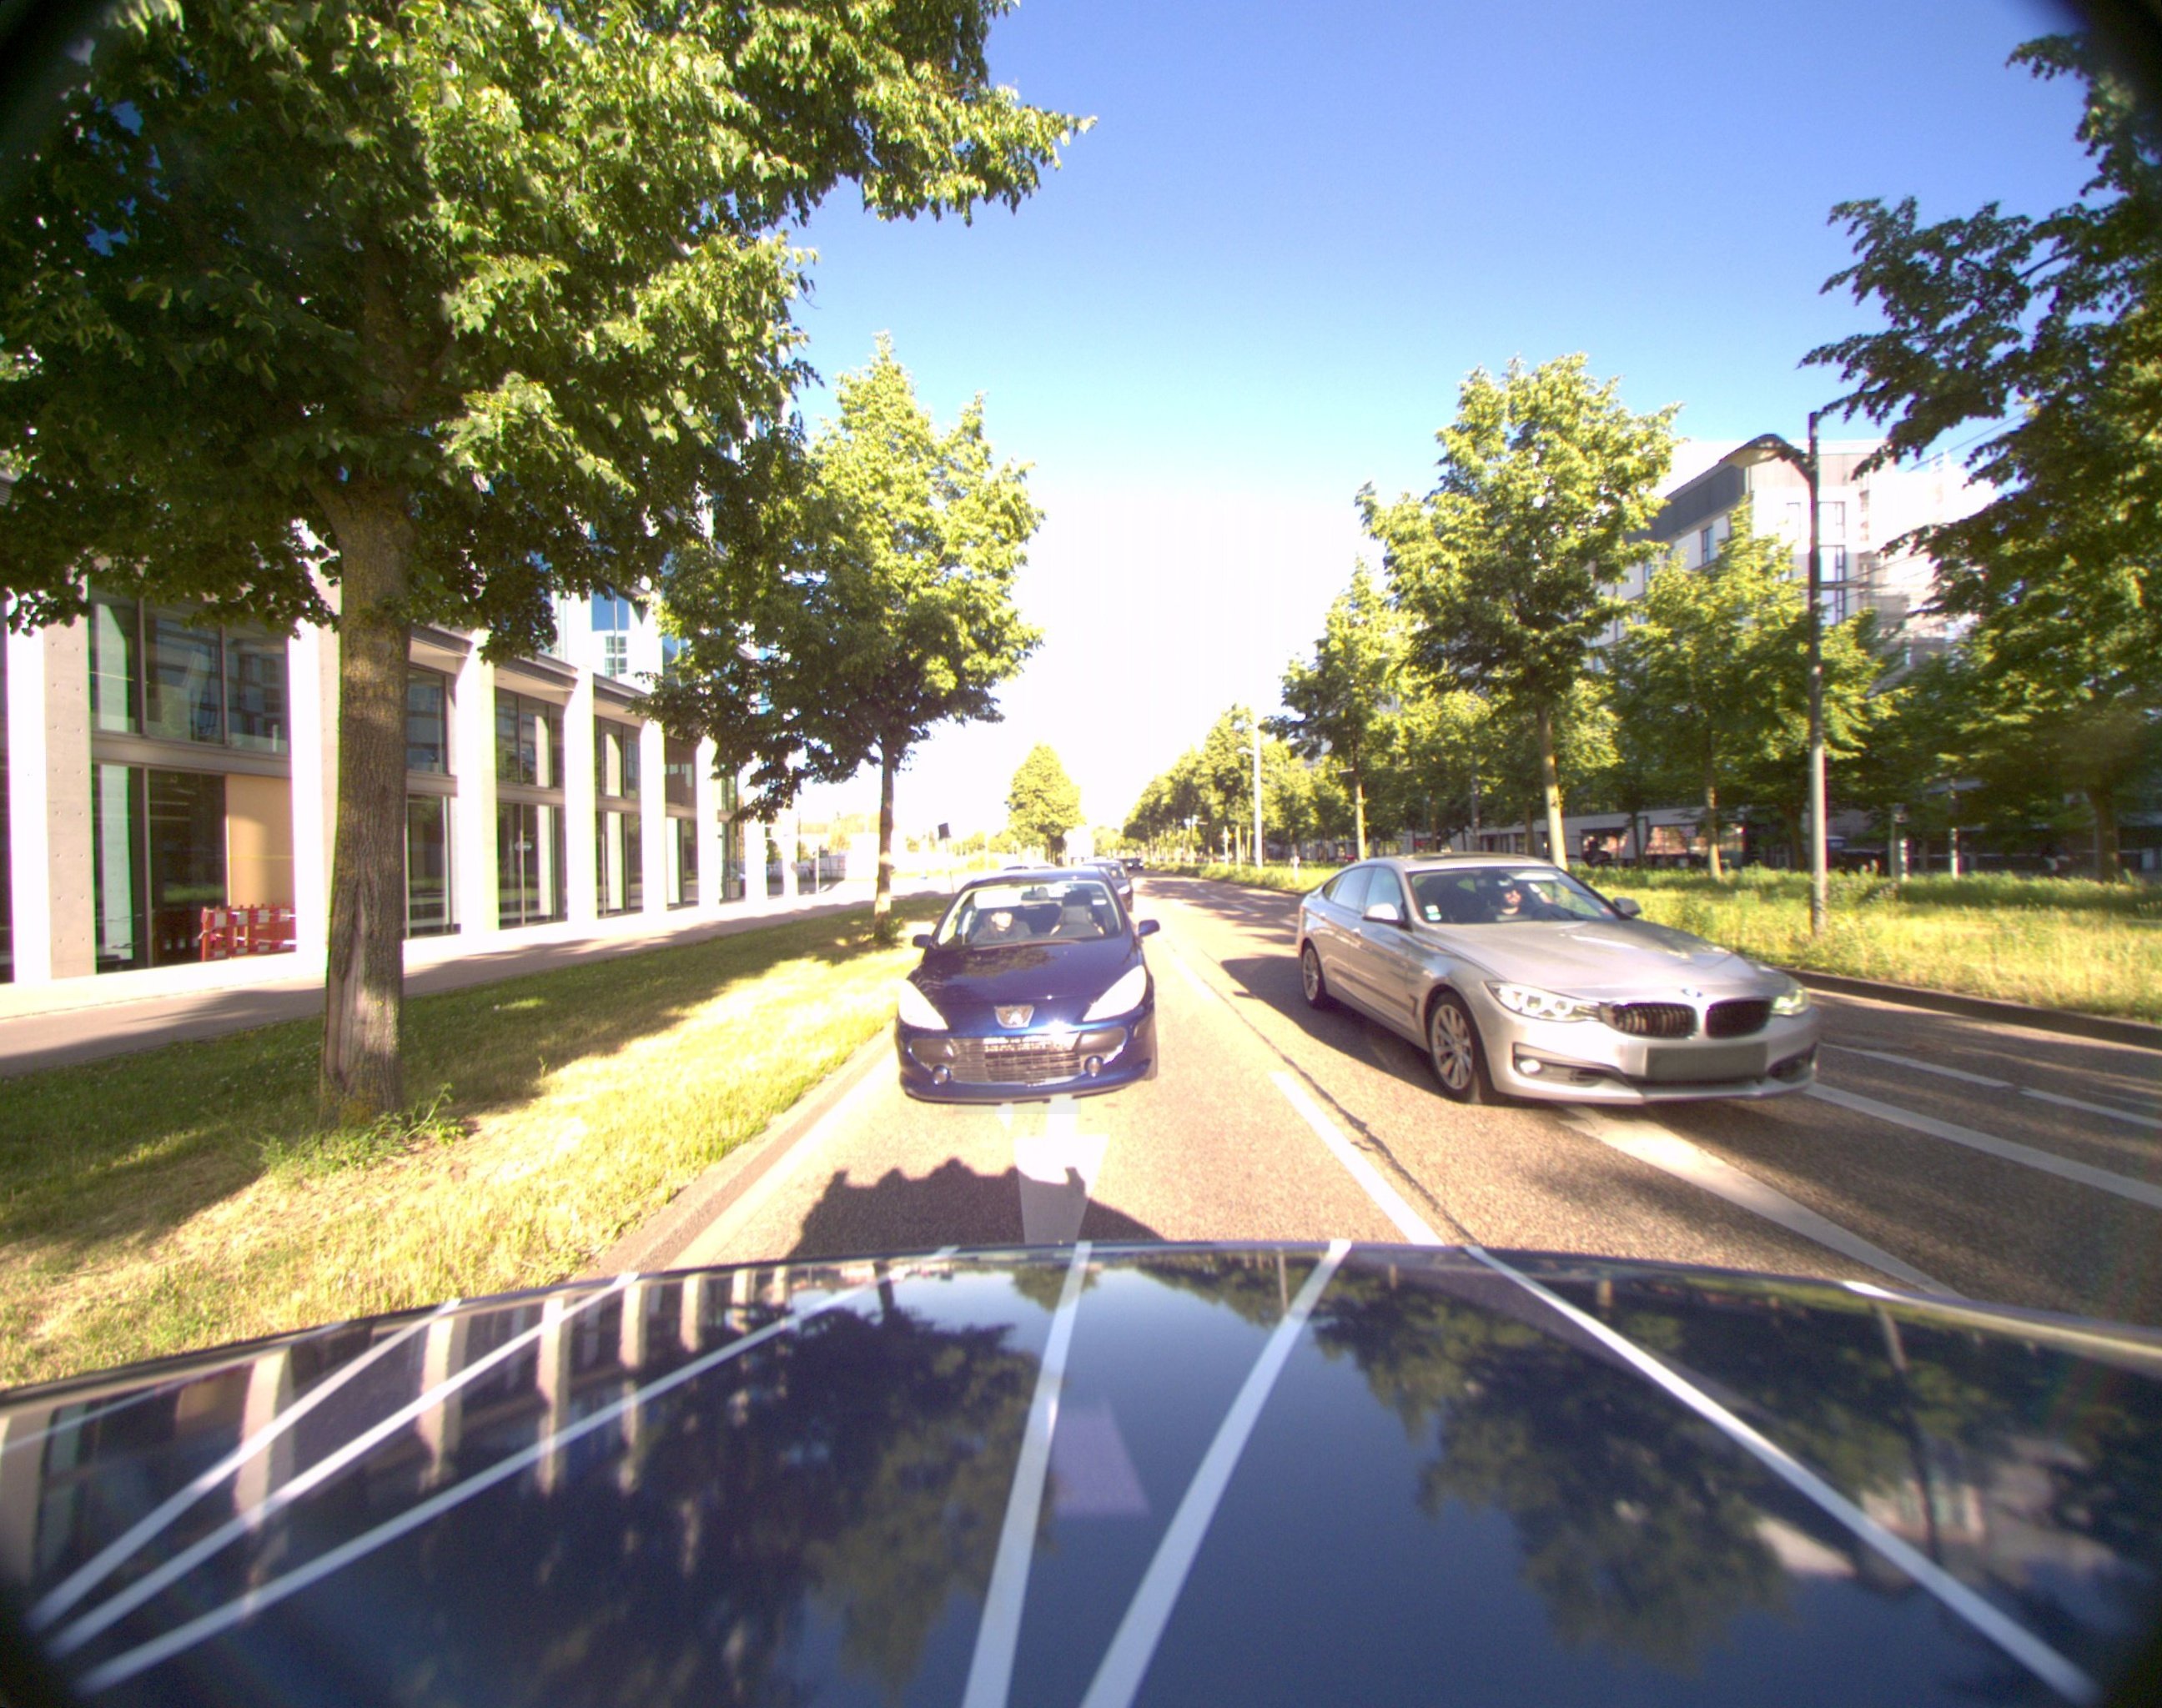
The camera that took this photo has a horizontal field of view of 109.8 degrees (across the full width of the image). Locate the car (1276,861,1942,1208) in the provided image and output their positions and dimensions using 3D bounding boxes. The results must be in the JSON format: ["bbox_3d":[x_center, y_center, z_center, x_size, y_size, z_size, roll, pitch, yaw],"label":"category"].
[{"bbox_3d":[2.981,0.838,5.714,1.824,1.476,4.561,-1,0,0],"label":"car"}]

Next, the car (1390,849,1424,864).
[{"bbox_3d":[35.422,0.284,82.713,1.884,1.588,4.184,-1,0,1],"label":"car"}]

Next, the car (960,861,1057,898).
[{"bbox_3d":[-3.170,1.047,32.323,1.808,1.439,4.556,-2,0,-40],"label":"car"}]

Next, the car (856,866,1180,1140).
[{"bbox_3d":[-0.340,0.907,6.658,1.846,1.473,4.481,-1,0,1],"label":"car"}]

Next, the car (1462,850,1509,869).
[{"bbox_3d":[35.137,0.453,66.123,1.884,1.588,4.184,-1,0,1],"label":"car"}]

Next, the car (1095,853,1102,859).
[{"bbox_3d":[5.064,0.529,219.754,1.878,1.561,4.344,-1,0,2],"label":"car"}]

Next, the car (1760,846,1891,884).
[{"bbox_3d":[34.071,0.462,34.959,1.951,1.588,4.184,-1,0,1],"label":"car"}]

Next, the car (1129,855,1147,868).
[{"bbox_3d":[6.682,0.864,89.594,1.861,1.482,4.000,-1,0,1],"label":"car"}]

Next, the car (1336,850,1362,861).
[{"bbox_3d":[35.815,0.152,101.633,1.999,1.387,3.999,-1,0,-2],"label":"car"}]

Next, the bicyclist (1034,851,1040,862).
[{"bbox_3d":[-8.680,0.487,149.926,0.931,2.045,1.121,-1,1,1],"label":"bicyclist"}]

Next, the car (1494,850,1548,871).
[{"bbox_3d":[35.172,0.499,60.840,1.884,1.588,4.184,-1,0,1],"label":"car"}]

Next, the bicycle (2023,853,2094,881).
[{"bbox_3d":[37.461,0.480,29.147,0.478,1.029,1.756,-1,0,1],"label":"bicycle"}]

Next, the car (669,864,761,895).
[{"bbox_3d":[-20.056,1.367,41.745,3.996,1.569,2.000,-1,0,3],"label":"car"}]

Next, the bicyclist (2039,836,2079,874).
[{"bbox_3d":[37.446,0.029,29.087,0.478,1.416,0.820,-1,1,1],"label":"bicyclist"}]

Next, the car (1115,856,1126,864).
[{"bbox_3d":[7.145,1.012,138.261,1.878,1.415,4.344,-1,0,2],"label":"car"}]

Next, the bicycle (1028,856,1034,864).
[{"bbox_3d":[-9.844,1.181,149.712,0.931,1.355,4.000,-1,0,1],"label":"bicycle"}]

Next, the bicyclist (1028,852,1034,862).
[{"bbox_3d":[-9.849,0.559,149.725,0.931,2.045,1.121,-1,1,1],"label":"bicyclist"}]

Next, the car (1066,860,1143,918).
[{"bbox_3d":[0.638,0.930,22.236,1.998,1.437,4.622,-1,0,1],"label":"car"}]

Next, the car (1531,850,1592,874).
[{"bbox_3d":[34.887,0.567,55.301,1.884,1.588,4.184,-1,0,1],"label":"car"}]

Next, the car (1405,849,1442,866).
[{"bbox_3d":[35.011,0.354,77.805,1.884,1.588,4.184,-1,0,1],"label":"car"}]

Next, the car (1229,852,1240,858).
[{"bbox_3d":[36.072,0.243,178.841,1.998,1.387,4.001,-1,0,4],"label":"car"}]

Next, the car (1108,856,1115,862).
[{"bbox_3d":[8.009,1.313,201.049,1.878,1.577,4.344,-1,0,2],"label":"car"}]

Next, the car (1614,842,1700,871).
[{"bbox_3d":[33.830,0.149,44.788,1.951,1.588,4.184,-1,0,1],"label":"car"}]

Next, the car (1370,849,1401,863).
[{"bbox_3d":[35.479,0.227,88.634,1.884,1.588,4.184,-1,0,1],"label":"car"}]

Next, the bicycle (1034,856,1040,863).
[{"bbox_3d":[-8.665,1.107,150.021,0.931,1.355,4.000,-1,0,1],"label":"bicycle"}]

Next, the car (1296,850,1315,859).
[{"bbox_3d":[36.580,0.094,123.763,1.998,1.387,4.000,-1,0,1],"label":"car"}]
